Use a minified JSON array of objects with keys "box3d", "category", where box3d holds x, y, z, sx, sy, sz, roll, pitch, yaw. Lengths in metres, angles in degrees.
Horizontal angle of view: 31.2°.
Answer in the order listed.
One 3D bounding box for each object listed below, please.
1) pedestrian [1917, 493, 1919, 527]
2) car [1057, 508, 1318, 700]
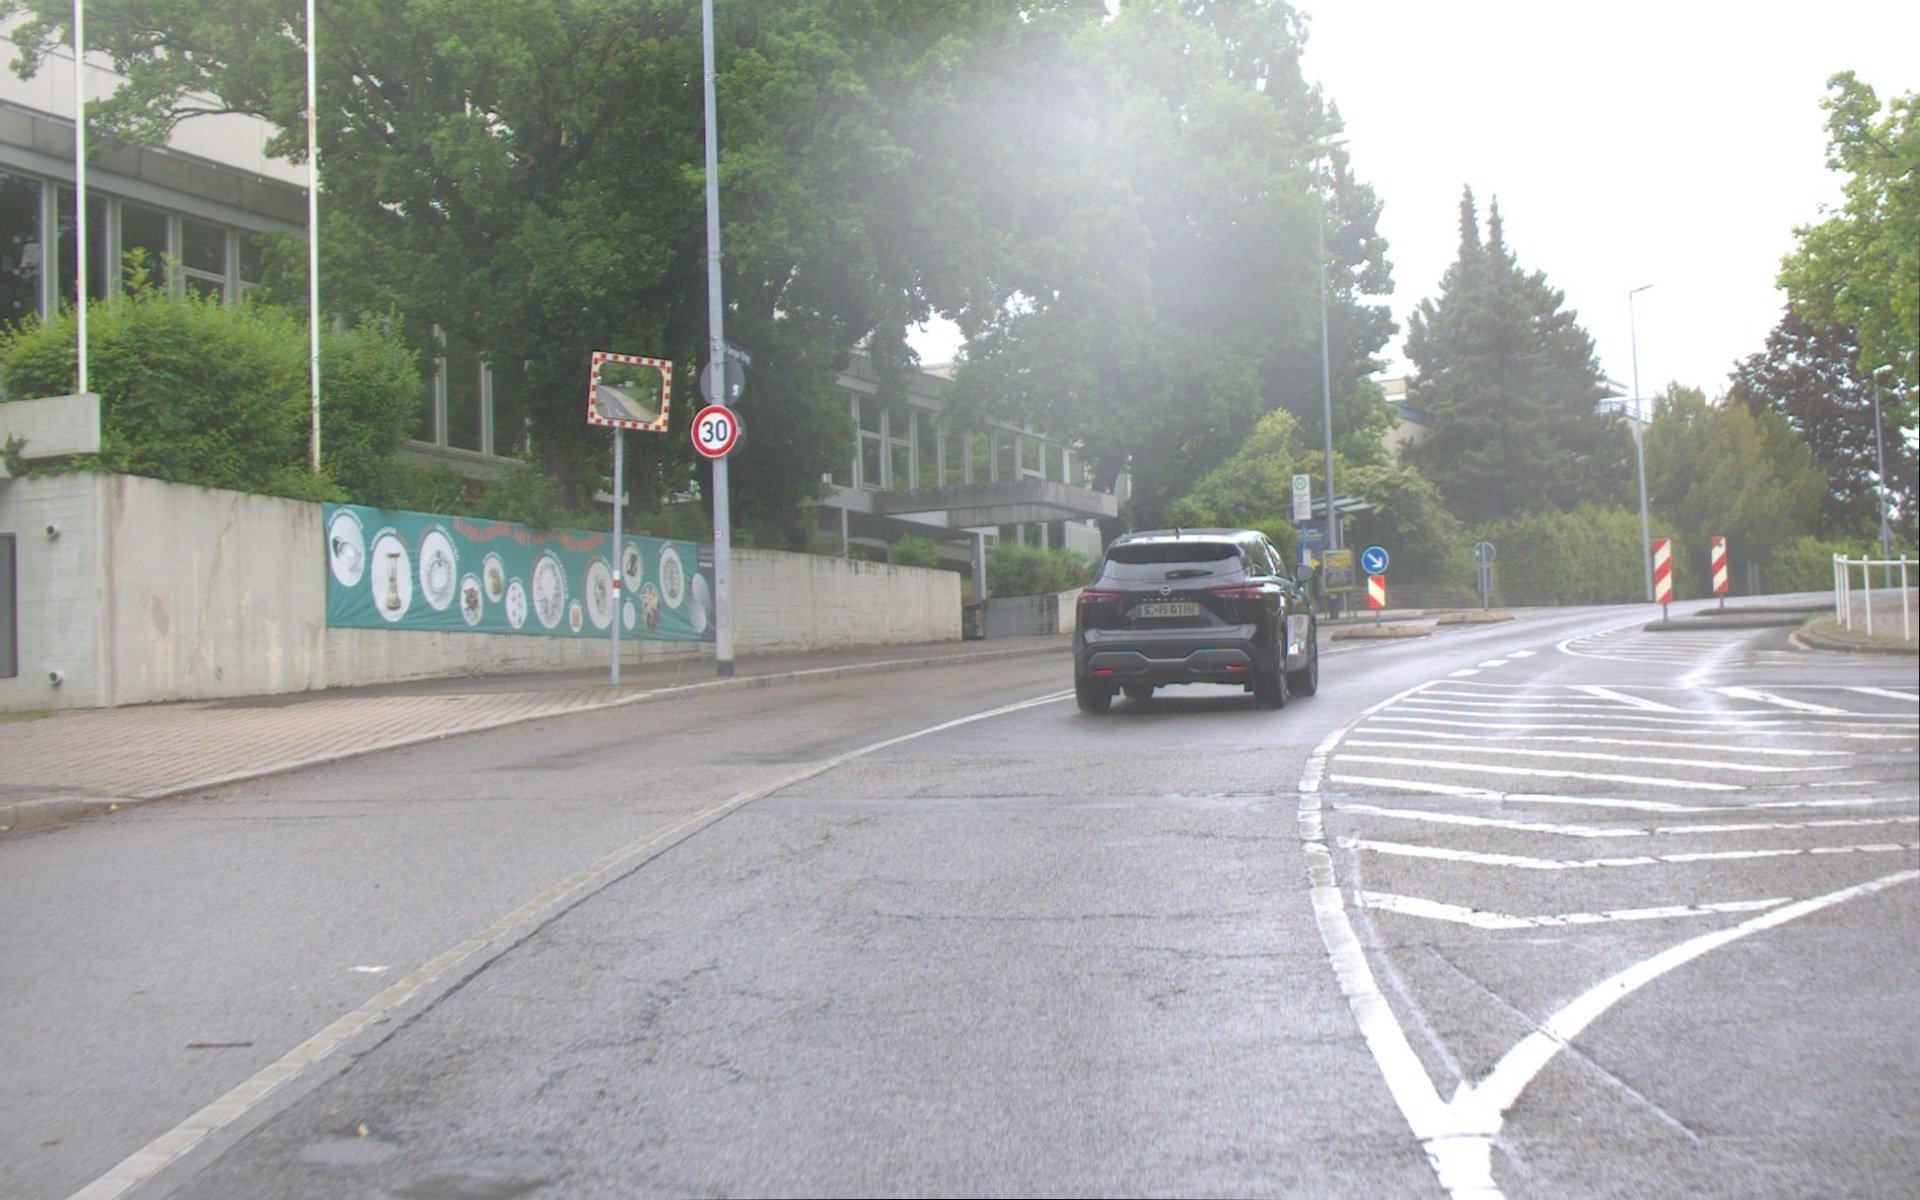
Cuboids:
[{"box3d":[20.768,-1.433,72.281,1.084,1.716,1.165,-5,-1,15],"category":"pedestrian"},{"box3d":[2.141,-0.007,31.314,1.929,1.607,3.999,-1,1,10],"category":"car"}]
